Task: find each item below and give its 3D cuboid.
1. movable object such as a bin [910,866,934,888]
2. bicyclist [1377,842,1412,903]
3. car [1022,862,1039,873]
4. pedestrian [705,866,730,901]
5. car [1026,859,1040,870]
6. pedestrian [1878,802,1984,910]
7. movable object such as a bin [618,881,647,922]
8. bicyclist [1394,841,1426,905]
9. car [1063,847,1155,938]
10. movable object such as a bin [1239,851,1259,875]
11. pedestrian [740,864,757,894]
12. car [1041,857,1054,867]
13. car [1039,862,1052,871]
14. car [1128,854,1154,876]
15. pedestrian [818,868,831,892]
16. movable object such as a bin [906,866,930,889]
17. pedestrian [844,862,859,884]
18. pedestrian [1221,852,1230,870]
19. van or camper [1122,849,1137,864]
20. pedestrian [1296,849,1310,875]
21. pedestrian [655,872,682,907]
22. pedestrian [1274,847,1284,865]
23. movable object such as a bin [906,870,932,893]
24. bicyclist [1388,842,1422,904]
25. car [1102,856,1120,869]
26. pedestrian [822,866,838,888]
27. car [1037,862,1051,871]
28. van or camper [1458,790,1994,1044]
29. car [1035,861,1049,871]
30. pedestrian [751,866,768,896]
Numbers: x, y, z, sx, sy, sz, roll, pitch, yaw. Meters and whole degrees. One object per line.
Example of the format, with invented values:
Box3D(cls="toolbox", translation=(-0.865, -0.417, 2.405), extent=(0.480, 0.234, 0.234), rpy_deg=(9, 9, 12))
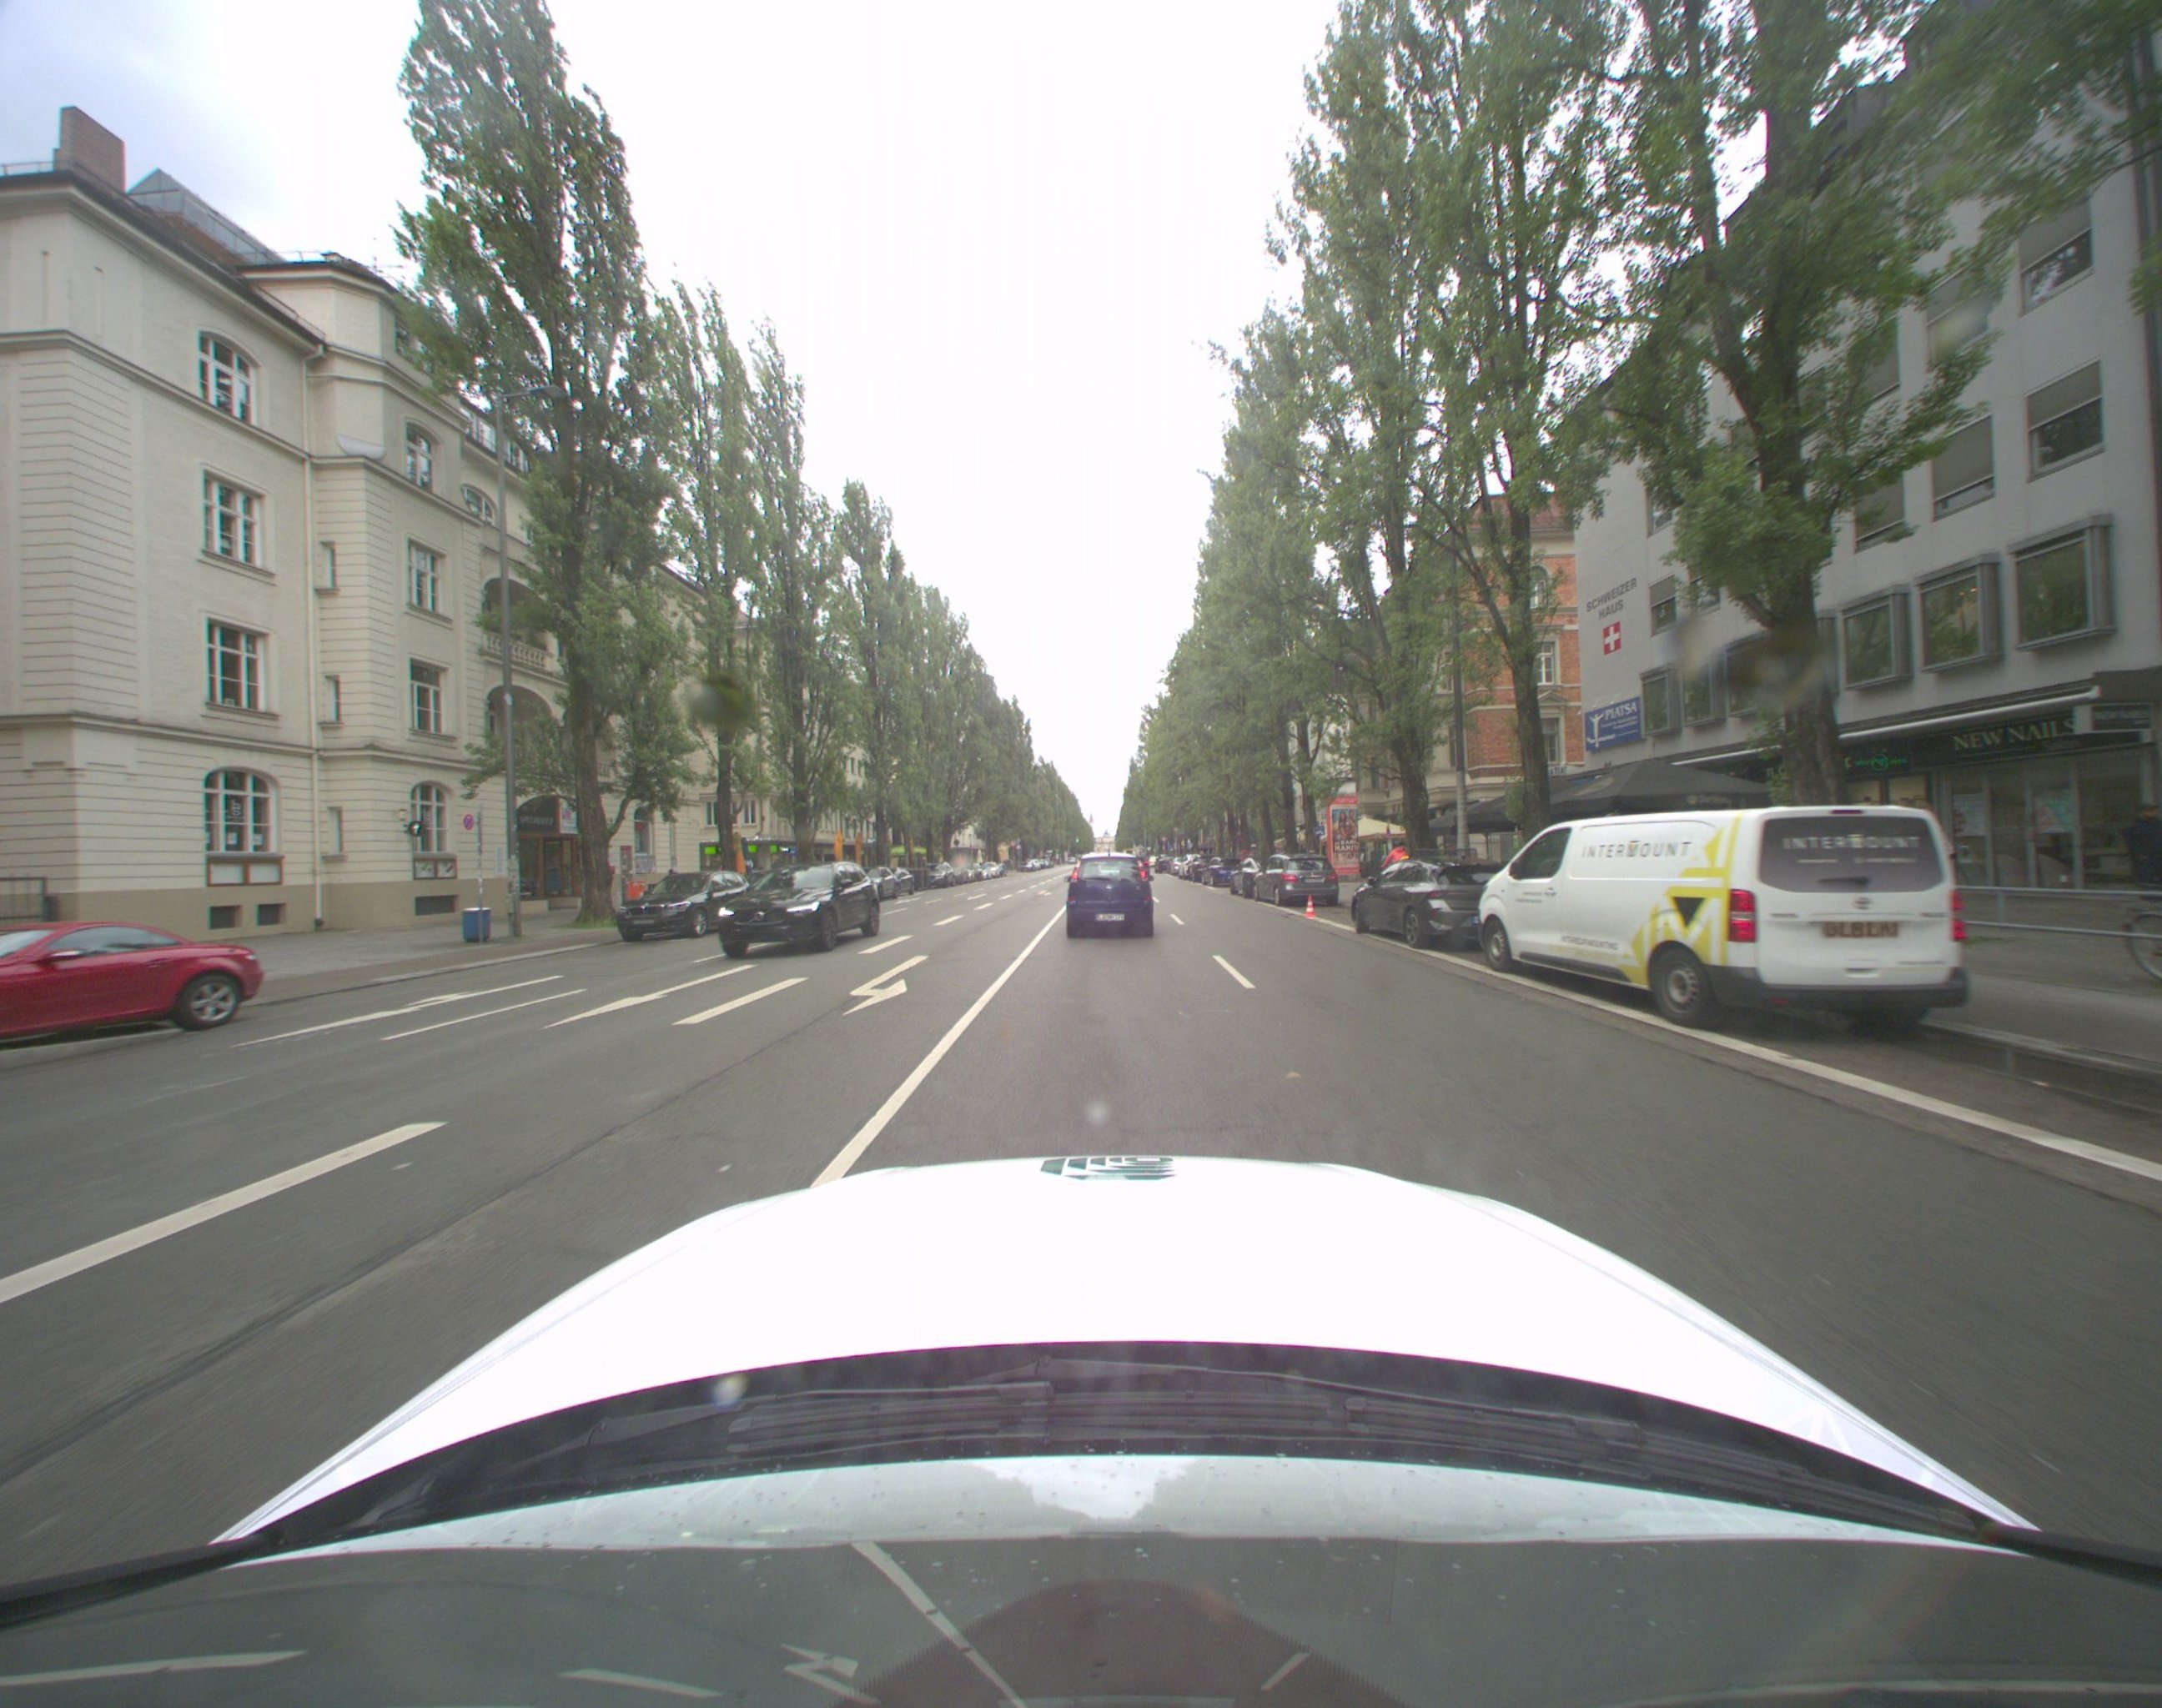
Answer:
Box3D(cls="movable object such as a bin", translation=(-9.988, 1.438, 51.255), extent=(1.309, 1.317, 0.819), rpy_deg=(-2, 0, 0))
Box3D(cls="bicyclist", translation=(8.469, 0.498, 22.020), extent=(0.619, 1.588, 0.753), rpy_deg=(-2, -1, 1))
Box3D(cls="car", translation=(-6.704, 1.738, 108.425), extent=(1.823, 1.420, 3.812), rpy_deg=(-1, 0, 2))
Box3D(cls="pedestrian", translation=(-17.977, 1.444, 40.266), extent=(0.731, 1.673, 0.953), rpy_deg=(-2, 0, 1))
Box3D(cls="car", translation=(-6.982, 1.500, 119.396), extent=(1.648, 1.562, 3.458), rpy_deg=(-2, 0, 2))
Box3D(cls="pedestrian", translation=(15.206, 0.044, 14.608), extent=(0.820, 1.841, 1.104), rpy_deg=(-2, -1, 16))
Box3D(cls="movable object such as a bin", translation=(-15.017, 1.582, 27.280), extent=(0.602, 1.316, 0.586), rpy_deg=(-2, -1, 2))
Box3D(cls="bicyclist", translation=(8.441, 0.484, 20.907), extent=(0.619, 1.588, 0.391), rpy_deg=(-2, -1, 1))
Box3D(cls="car", translation=(0.551, 0.713, 17.012), extent=(1.675, 1.641, 4.000), rpy_deg=(-1, 0, 1))
Box3D(cls="movable object such as a bin", translation=(12.090, 0.653, 58.718), extent=(1.030, 1.703, 1.585), rpy_deg=(-2, -1, -2))
Box3D(cls="pedestrian", translation=(-19.700, 1.481, 48.229), extent=(0.623, 1.721, 0.827), rpy_deg=(-2, -1, 1))
Box3D(cls="car", translation=(-6.032, 1.418, 147.893), extent=(1.986, 1.662, 4.001), rpy_deg=(-2, 0, 1))
Box3D(cls="car", translation=(-6.203, 2.163, 141.392), extent=(1.955, 1.549, 3.779), rpy_deg=(-2, 0, 1))
Box3D(cls="car", translation=(4.460, 0.791, 60.695), extent=(1.700, 1.574, 4.001), rpy_deg=(0, -1, 1))
Box3D(cls="pedestrian", translation=(-18.535, 1.864, 58.826), extent=(0.622, 1.721, 0.828), rpy_deg=(-2, -1, 4))
Box3D(cls="movable object such as a bin", translation=(-10.063, 1.439, 50.340), extent=(1.255, 1.317, 0.825), rpy_deg=(-2, 0, 0))
Box3D(cls="pedestrian", translation=(-18.845, 1.543, 66.897), extent=(0.848, 1.744, 1.148), rpy_deg=(-2, 0, 2))
Box3D(cls="pedestrian", translation=(13.192, 0.633, 74.531), extent=(0.652, 1.626, 0.704), rpy_deg=(-2, -1, -1))
Box3D(cls="van or camper", translation=(8.633, 0.504, 145.165), extent=(2.467, 2.581, 5.847), rpy_deg=(-2, 0, 2))
Box3D(cls="pedestrian", translation=(16.023, 0.580, 58.882), extent=(0.726, 1.802, 0.932), rpy_deg=(-2, -1, 2))
Box3D(cls="pedestrian", translation=(-18.587, 1.587, 36.706), extent=(0.766, 1.537, 0.805), rpy_deg=(0, -1, 1))
Box3D(cls="pedestrian", translation=(17.581, 0.176, 72.238), extent=(0.652, 1.626, 0.704), rpy_deg=(-2, 0, -1))
Box3D(cls="movable object such as a bin", translation=(-9.575, 1.607, 48.176), extent=(1.272, 1.310, 0.902), rpy_deg=(-1, 0, 1))
Box3D(cls="bicyclist", translation=(8.453, 0.489, 21.254), extent=(0.619, 1.588, 0.481), rpy_deg=(-2, -1, 1))
Box3D(cls="car", translation=(3.551, 0.979, 97.310), extent=(1.987, 1.497, 4.000), rpy_deg=(-2, 0, 1))
Box3D(cls="pedestrian", translation=(-20.185, 1.835, 65.592), extent=(0.848, 1.744, 1.148), rpy_deg=(-2, 0, 2))
Box3D(cls="car", translation=(-6.241, 2.170, 137.268), extent=(1.955, 1.399, 3.779), rpy_deg=(-2, 0, 1))
Box3D(cls="van or camper", translation=(6.019, 0.493, 8.627), extent=(1.861, 1.883, 4.904), rpy_deg=(-1, 0, 2))
Box3D(cls="car", translation=(-6.278, 1.967, 131.602), extent=(1.955, 1.530, 4.000), rpy_deg=(-2, 0, 0))
Box3D(cls="pedestrian", translation=(-19.032, 1.572, 48.256), extent=(0.623, 1.721, 0.827), rpy_deg=(-2, -1, 1))
